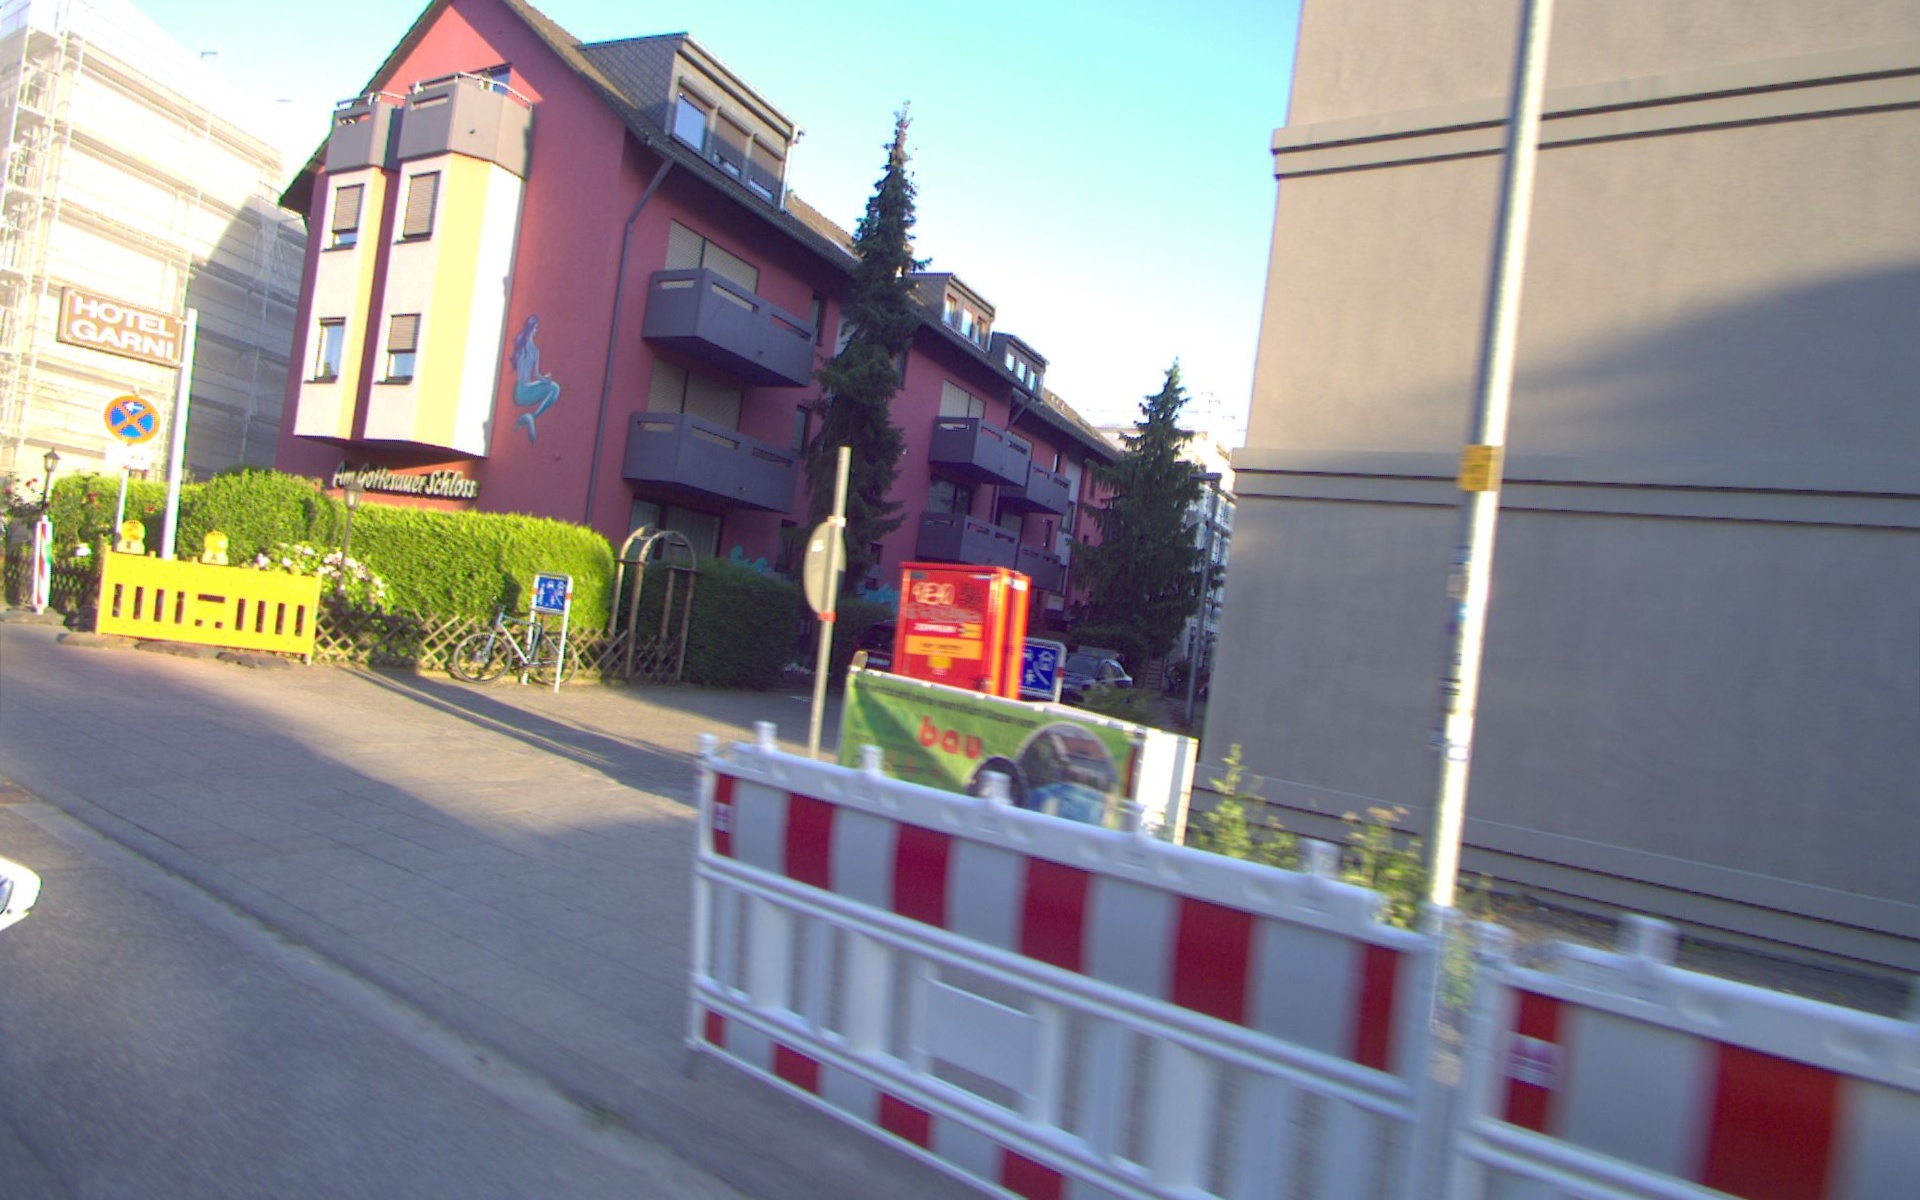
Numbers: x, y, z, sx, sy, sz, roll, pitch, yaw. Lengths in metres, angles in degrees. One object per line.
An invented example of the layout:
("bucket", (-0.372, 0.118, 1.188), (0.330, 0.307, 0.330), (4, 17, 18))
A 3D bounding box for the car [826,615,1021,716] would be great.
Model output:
("car", (-0.605, 1.345, 19.809), (1.855, 1.585, 3.908), (7, -2, 31))

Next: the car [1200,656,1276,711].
("car", (11.458, 3.460, 41.305), (1.855, 1.872, 3.908), (7, -2, 31))

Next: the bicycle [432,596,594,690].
("bicycle", (-5.922, 0.601, 13.447), (0.439, 1.082, 1.894), (7, -2, 38))

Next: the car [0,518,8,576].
("car", (-10.626, -0.299, 9.412), (4.045, 1.413, 1.777), (7, -2, 37))

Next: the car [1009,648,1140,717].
("car", (3.022, 2.154, 25.874), (1.731, 1.425, 3.908), (7, -2, 31))
